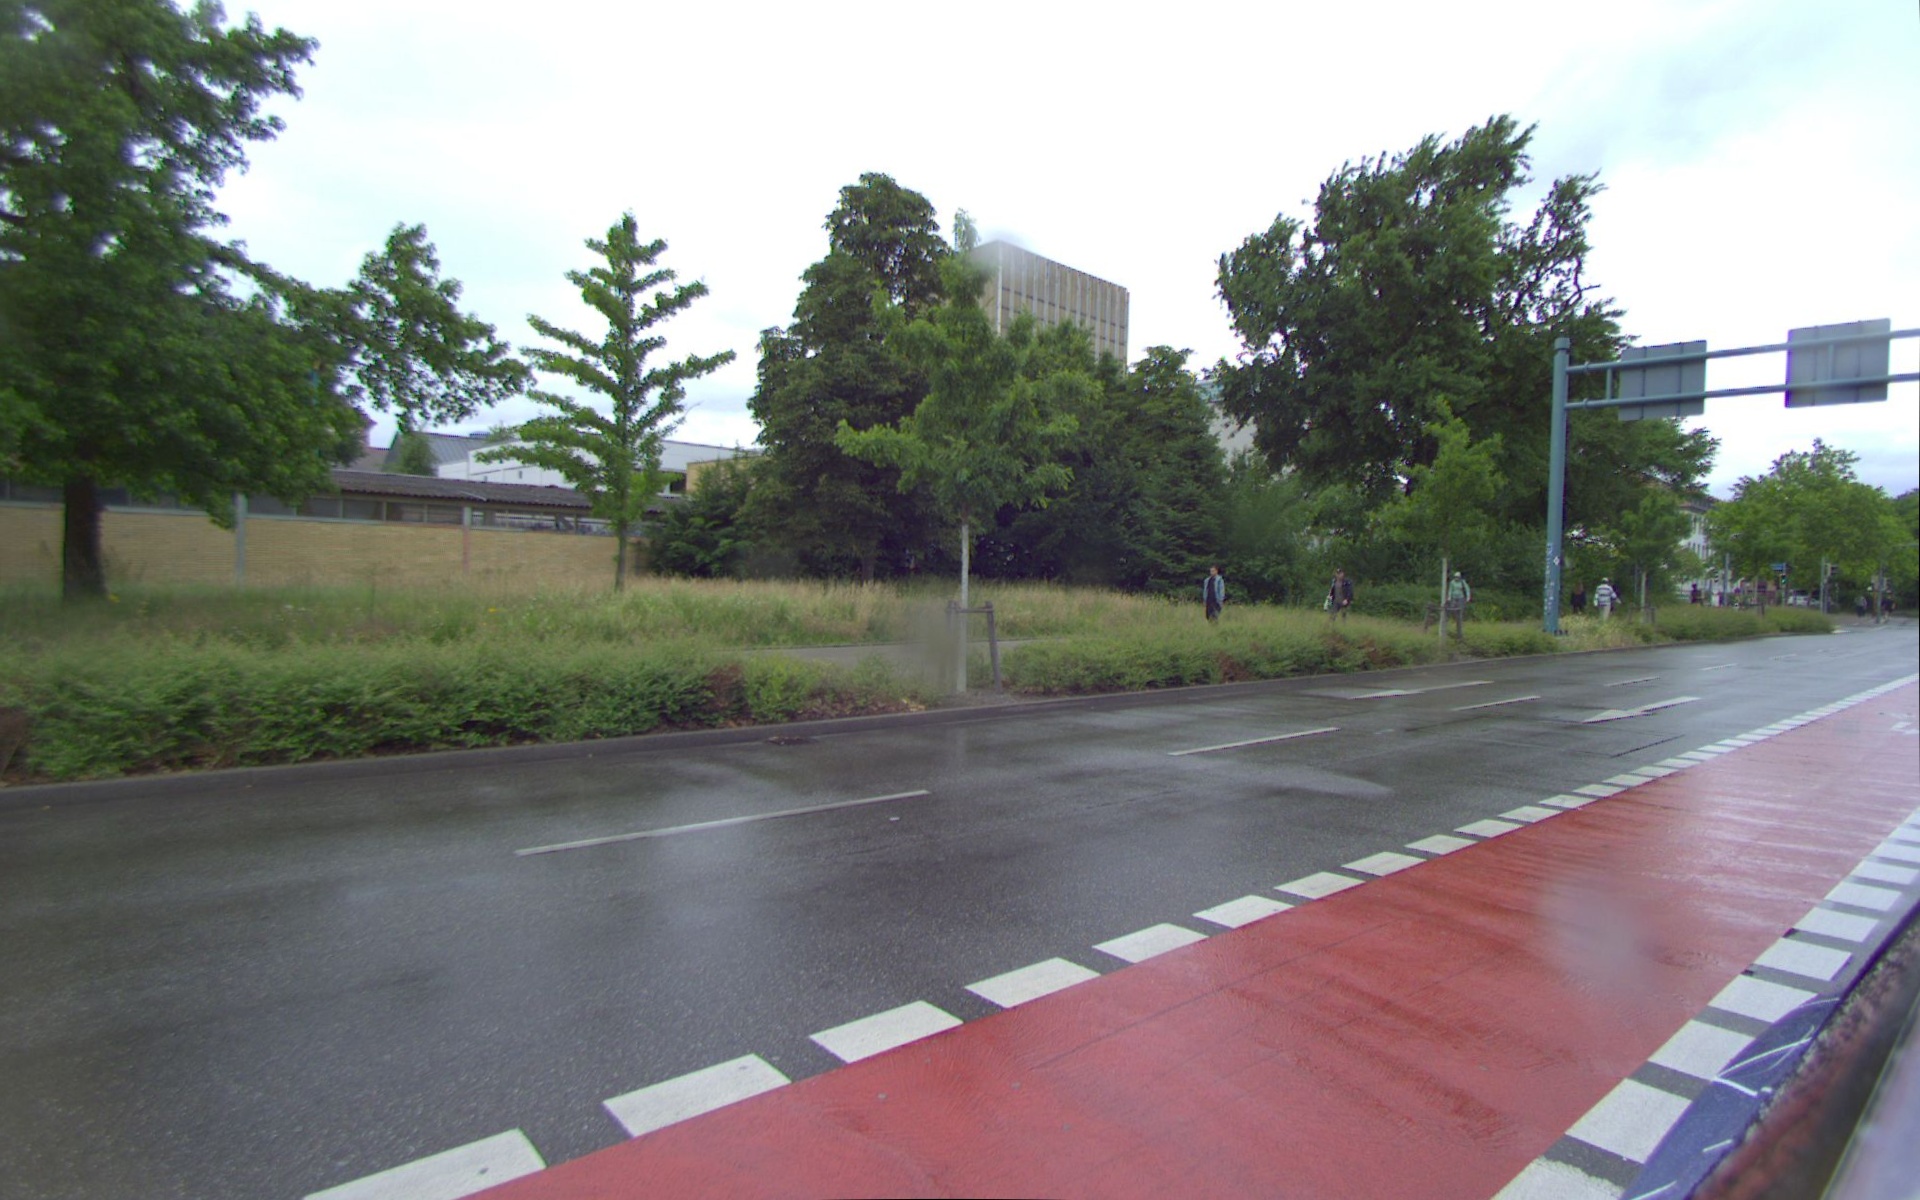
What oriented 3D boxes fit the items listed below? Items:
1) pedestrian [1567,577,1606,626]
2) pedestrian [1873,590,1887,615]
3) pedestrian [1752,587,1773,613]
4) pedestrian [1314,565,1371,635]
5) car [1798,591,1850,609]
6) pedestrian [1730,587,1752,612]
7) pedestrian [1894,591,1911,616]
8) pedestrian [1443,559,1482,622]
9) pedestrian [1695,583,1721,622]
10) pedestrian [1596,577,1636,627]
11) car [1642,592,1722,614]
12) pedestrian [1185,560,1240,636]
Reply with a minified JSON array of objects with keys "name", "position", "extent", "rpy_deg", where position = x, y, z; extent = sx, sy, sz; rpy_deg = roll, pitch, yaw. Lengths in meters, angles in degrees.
[{"name":"pedestrian","position":[23.021,0.044,37.193],"extent":[0.813,1.726,0.936],"rpy_deg":[4,-2,-36]},{"name":"pedestrian","position":[69.034,0.212,75.967],"extent":[0.621,1.847,0.777],"rpy_deg":[2,1,34]},{"name":"pedestrian","position":[51.658,0.000,65.170],"extent":[0.869,1.627,0.856],"rpy_deg":[2,1,27]},{"name":"pedestrian","position":[10.031,-0.005,26.523],"extent":[1.025,1.769,0.936],"rpy_deg":[1,1,-35]},{"name":"car","position":[97.958,0.002,114.762],"extent":[4.410,1.896,1.614],"rpy_deg":[3,2,41]},{"name":"pedestrian","position":[50.845,-0.033,65.885],"extent":[0.867,1.627,0.857],"rpy_deg":[2,1,22]},{"name":"pedestrian","position":[70.065,0.276,75.232],"extent":[0.619,1.847,0.779],"rpy_deg":[2,1,27]},{"name":"pedestrian","position":[16.491,-0.316,33.216],"extent":[0.813,2.038,0.793],"rpy_deg":[1,1,-35]},{"name":"pedestrian","position":[36.130,0.120,48.888],"extent":[0.834,1.882,0.732],"rpy_deg":[1,1,-35]},{"name":"pedestrian","position":[23.521,0.067,36.269],"extent":[0.813,1.743,0.936],"rpy_deg":[4,-2,-36]},{"name":"car","position":[51.427,0.192,72.151],"extent":[1.745,1.353,4.379],"rpy_deg":[-3,4,-44]},{"name":"pedestrian","position":[6.141,-0.059,24.632],"extent":[0.813,1.819,0.936],"rpy_deg":[1,1,-35]}]
